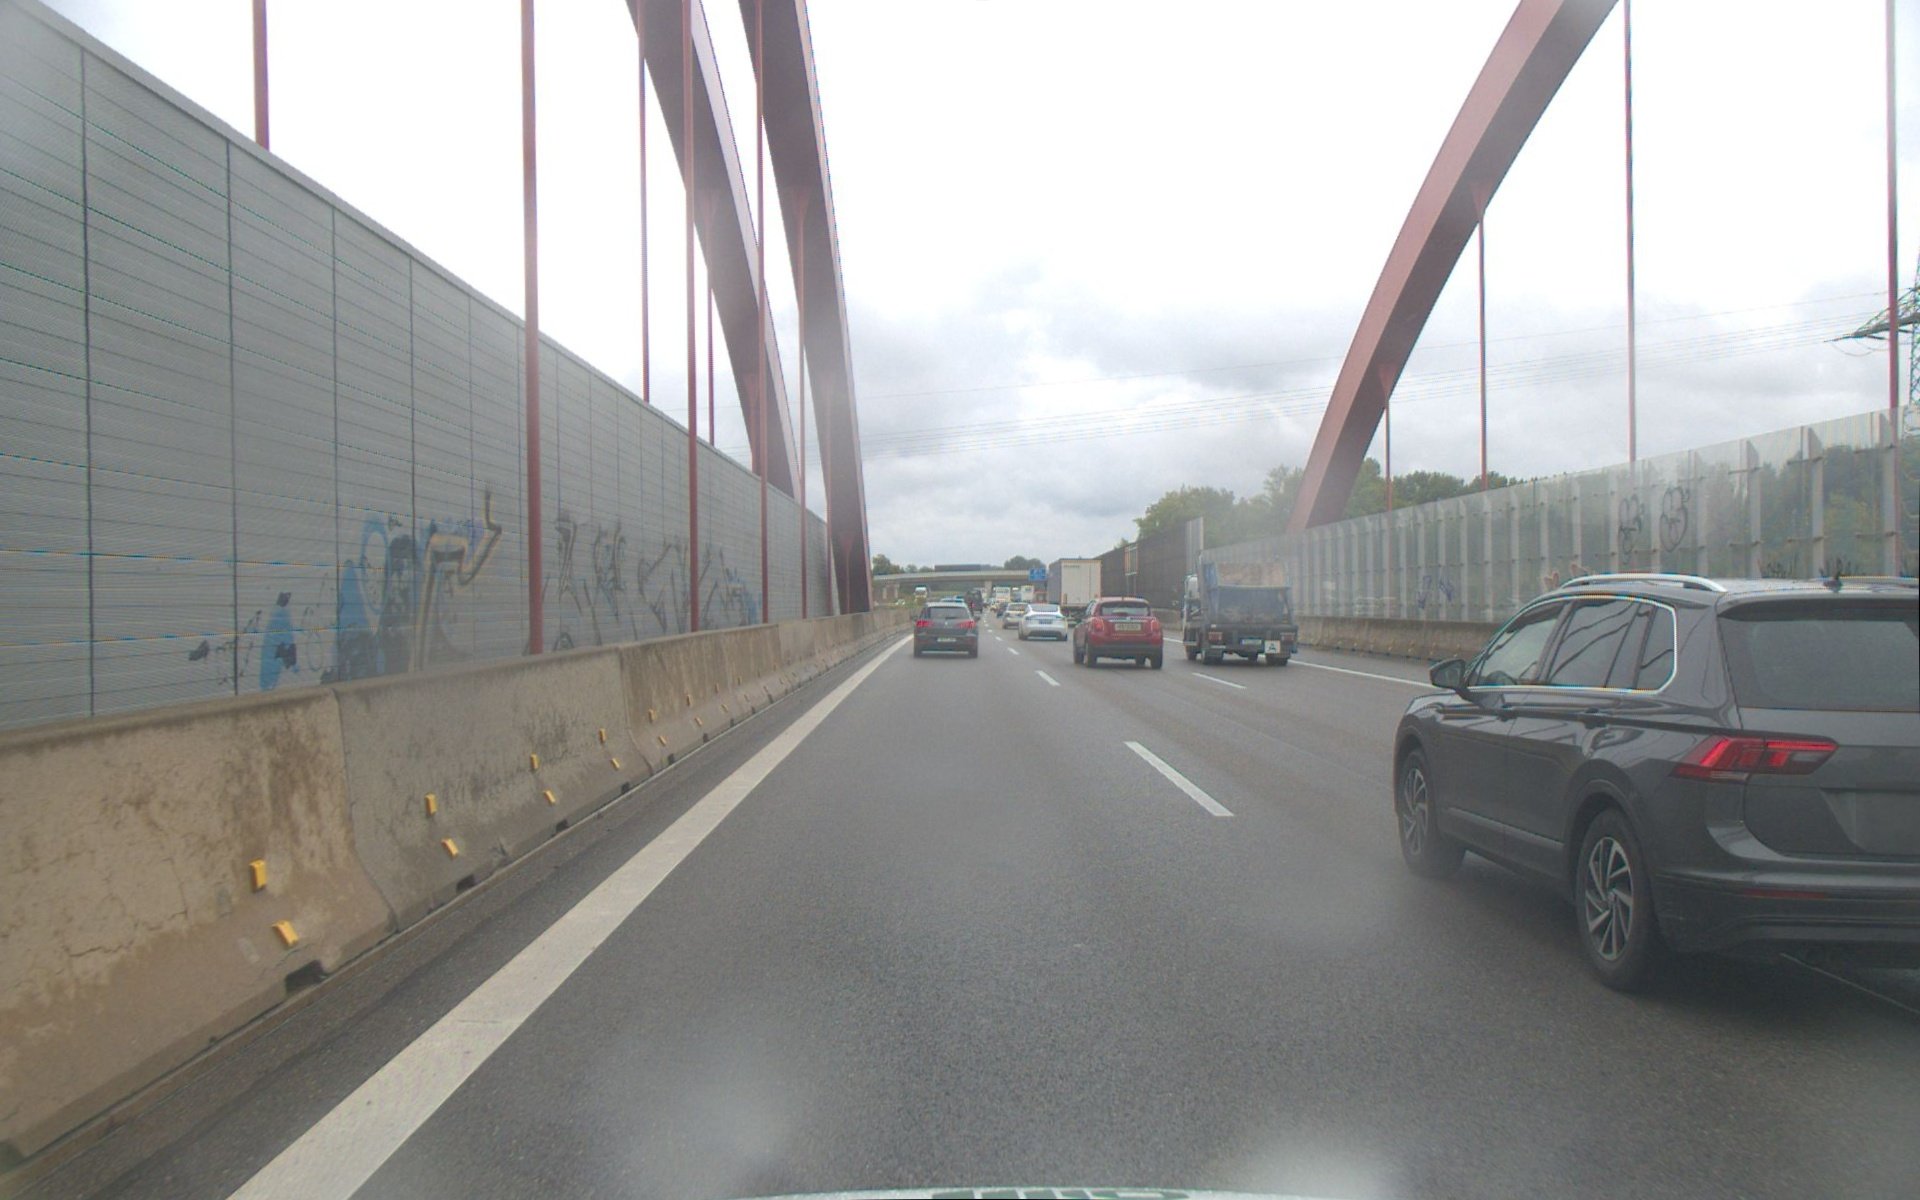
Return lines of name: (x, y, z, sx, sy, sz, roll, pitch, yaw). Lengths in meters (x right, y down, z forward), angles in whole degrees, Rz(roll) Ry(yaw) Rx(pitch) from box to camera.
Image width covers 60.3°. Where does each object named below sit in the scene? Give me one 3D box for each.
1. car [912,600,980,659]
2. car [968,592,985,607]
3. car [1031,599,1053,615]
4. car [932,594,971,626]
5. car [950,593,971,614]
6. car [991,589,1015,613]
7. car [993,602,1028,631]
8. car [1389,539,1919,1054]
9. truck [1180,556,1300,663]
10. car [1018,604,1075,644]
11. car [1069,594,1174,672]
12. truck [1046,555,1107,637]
car: (-0.400, 0.752, 44.432, 1.728, 1.478, 3.999, 1, 0, -1)
car: (1.891, -0.066, 188.574, 1.952, 1.652, 4.000, 0, 0, 1)
car: (8.171, 0.700, 164.828, 1.953, 1.545, 4.000, 0, 0, 0)
car: (-0.476, 0.508, 88.885, 1.953, 1.612, 3.998, -1, 0, -2)
car: (0.030, 0.319, 155.637, 1.953, 1.847, 3.999, 1, 0, -1)
car: (3.877, 0.079, 148.893, 1.953, 2.049, 3.999, 1, 0, -1)
car: (2.833, 0.895, 93.292, 1.668, 1.570, 3.837, 0, 0, -2)
car: (3.474, 0.651, 7.543, 1.873, 1.699, 4.103, 0, 0, -2)
truck: (7.099, 0.217, 42.592, 2.312, 2.550, 6.146, 1, 0, 3)
car: (3.421, 0.947, 66.038, 1.953, 1.512, 3.998, 0, 0, -2)
car: (3.751, 0.740, 39.003, 1.918, 1.676, 3.999, -1, 1, -2)
truck: (7.084, -0.241, 101.720, 2.983, 4.817, 7.678, 1, 0, -1)
